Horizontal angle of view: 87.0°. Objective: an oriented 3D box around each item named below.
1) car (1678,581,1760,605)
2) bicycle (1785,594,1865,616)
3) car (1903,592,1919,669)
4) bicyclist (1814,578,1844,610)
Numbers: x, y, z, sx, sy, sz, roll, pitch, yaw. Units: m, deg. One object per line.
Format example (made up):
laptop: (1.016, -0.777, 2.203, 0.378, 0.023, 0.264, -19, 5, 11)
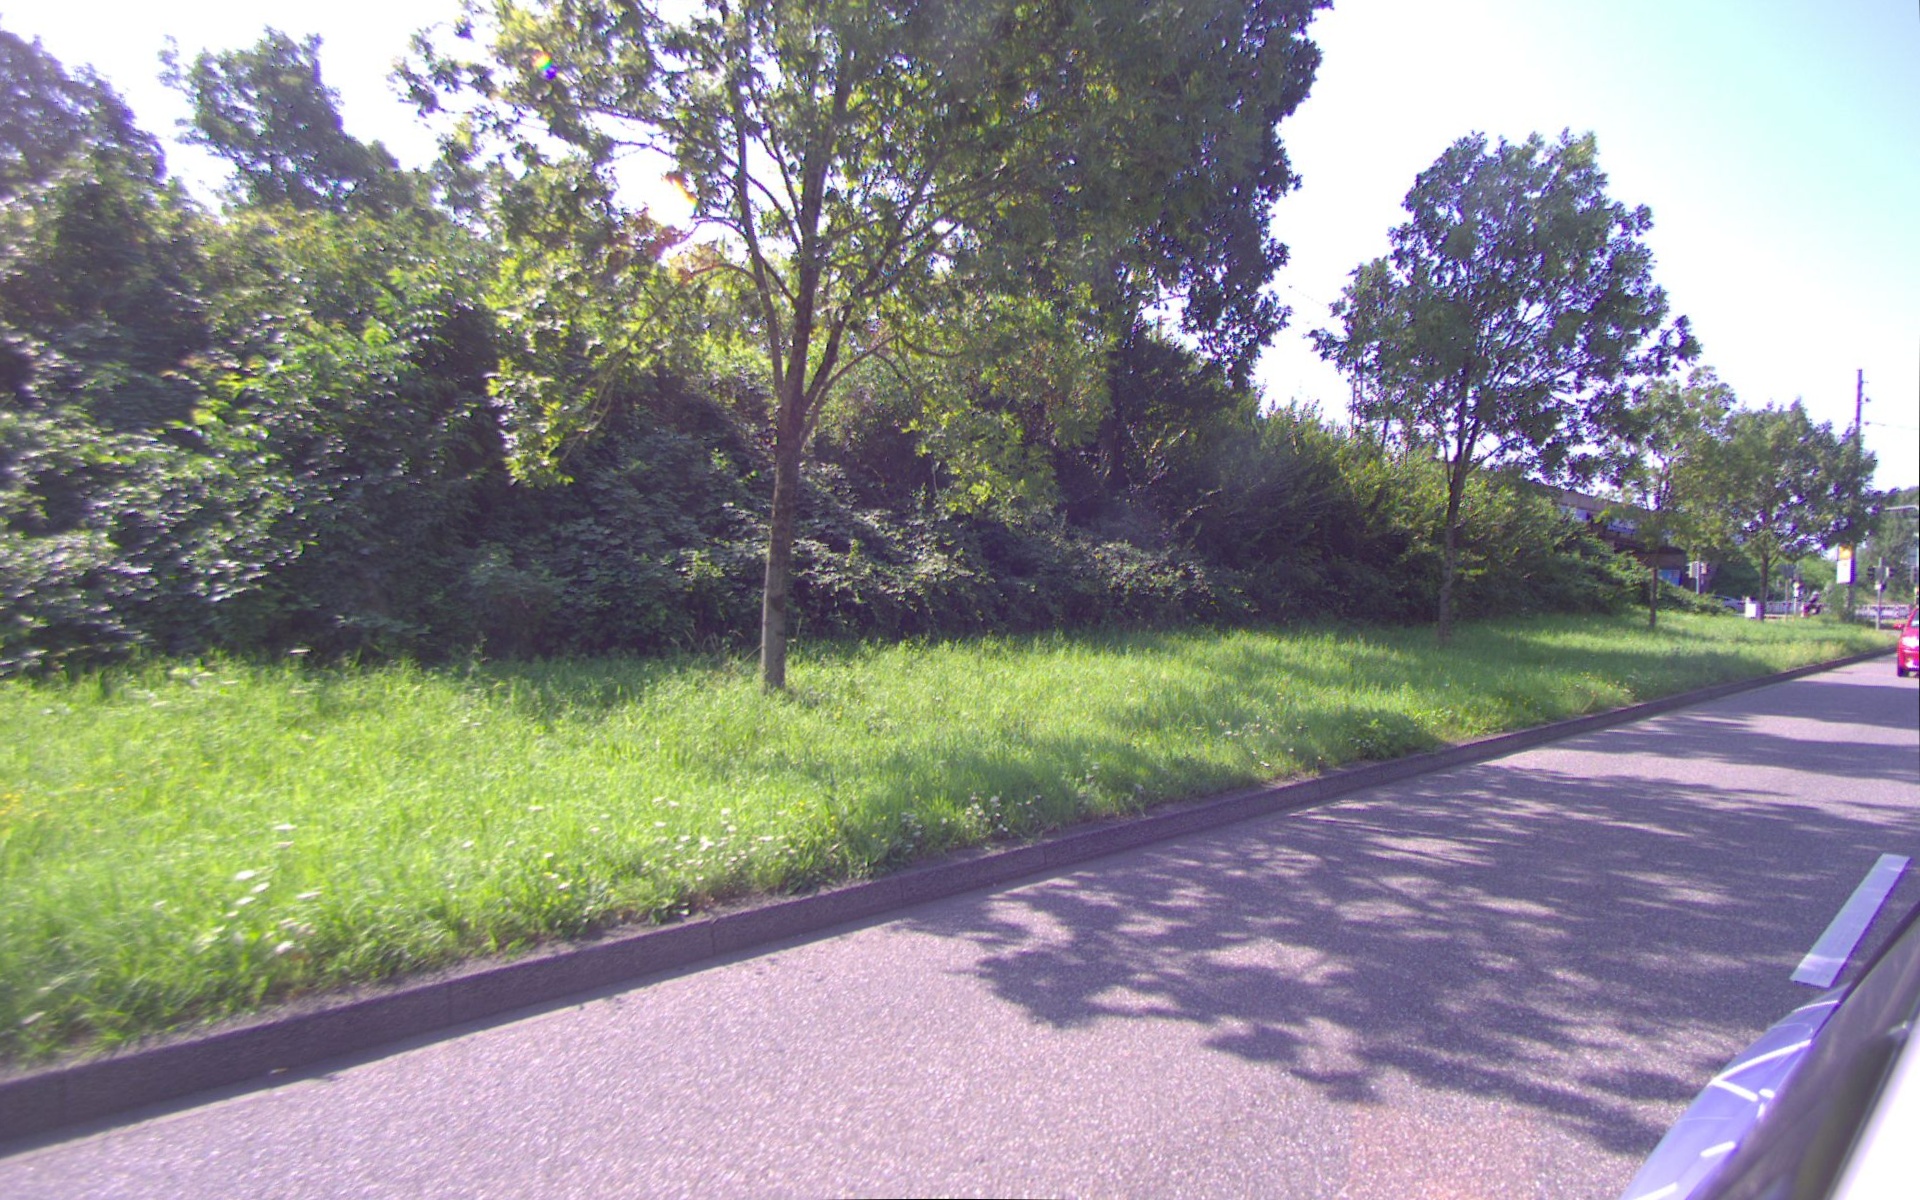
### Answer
car: (54.418, -0.528, 72.646, 4.585, 1.460, 1.816, 5, 4, 39)
bicycle: (46.052, 0.258, 53.946, 2.943, 1.062, 1.226, 2, 1, 22)
car: (20.412, 0.614, 20.575, 1.636, 1.486, 3.501, 0, 0, 40)
bicyclist: (46.193, -0.322, 53.809, 0.959, 1.679, 0.707, 2, 1, 22)
